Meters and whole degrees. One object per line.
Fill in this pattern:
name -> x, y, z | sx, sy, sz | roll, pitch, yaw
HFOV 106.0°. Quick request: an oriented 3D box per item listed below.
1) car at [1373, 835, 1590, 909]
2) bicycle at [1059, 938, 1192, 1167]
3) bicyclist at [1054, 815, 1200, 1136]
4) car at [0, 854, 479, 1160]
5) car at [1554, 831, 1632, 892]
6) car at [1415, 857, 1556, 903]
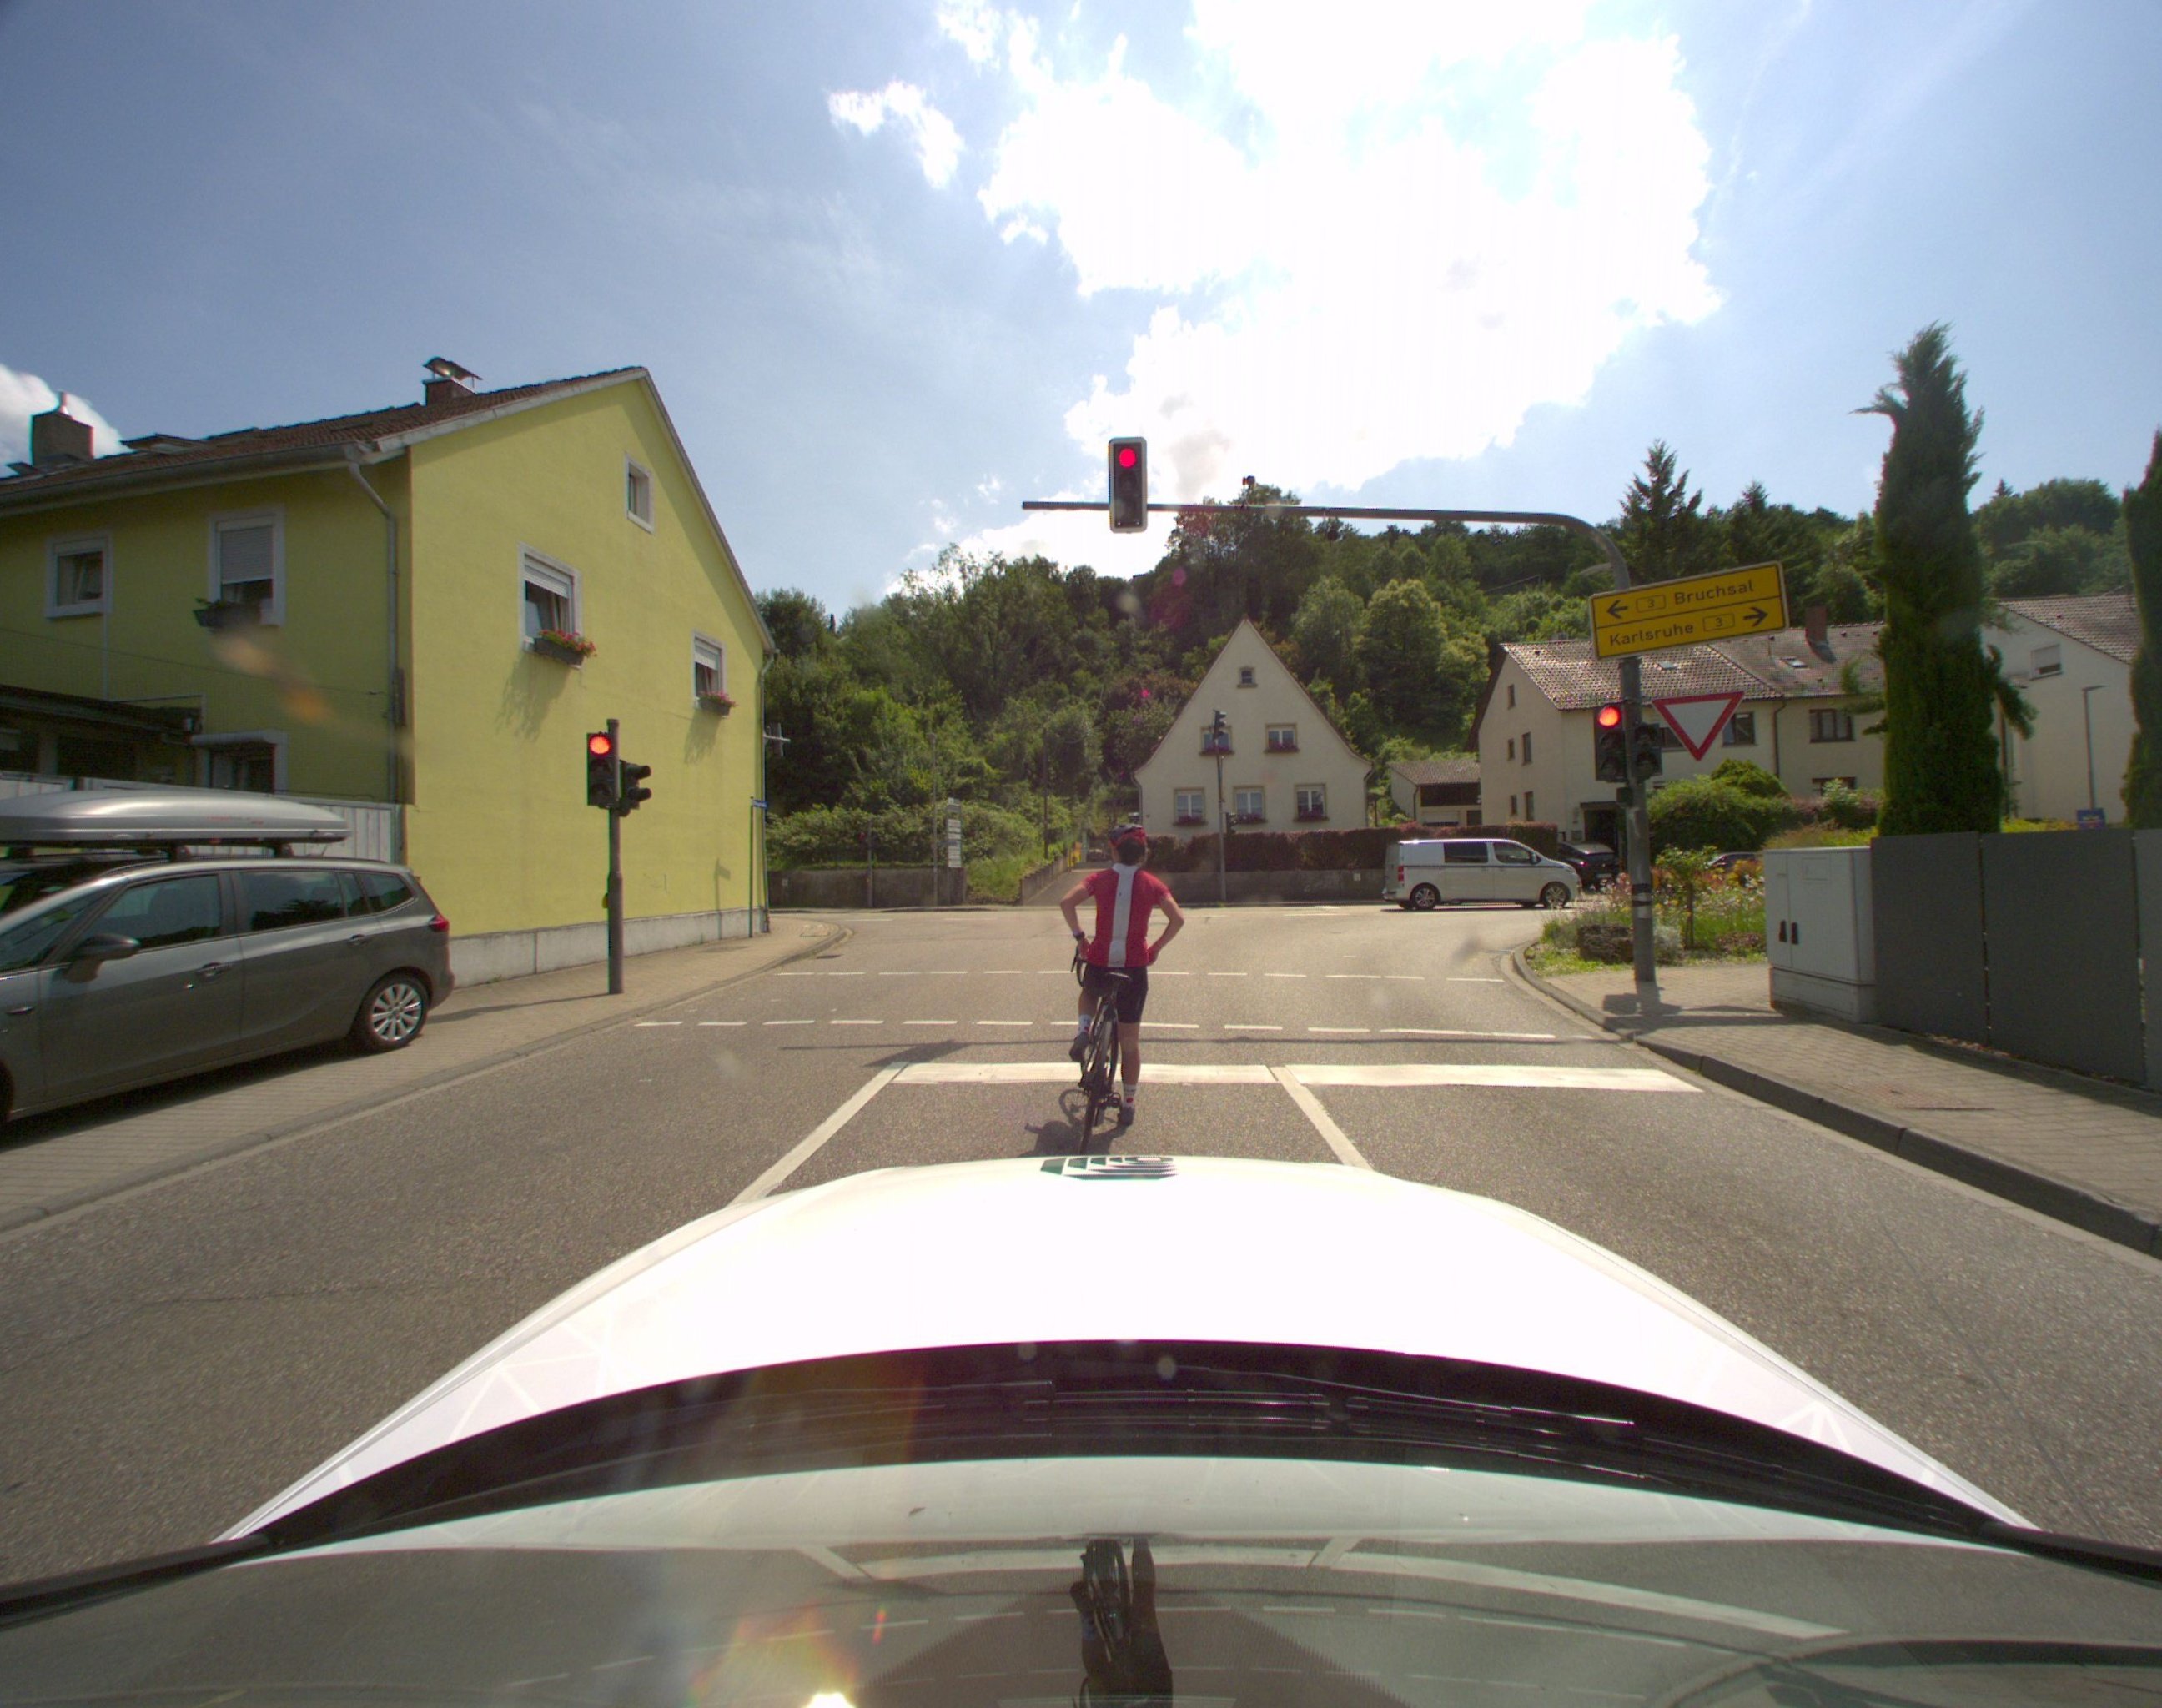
car -> 10.692, 0.520, 22.076 | 4.847, 1.822, 2.003 | -1, -3, 6
bicycle -> 0.195, 1.015, 4.655 | 0.628, 0.905, 1.656 | 0, 0, -1
bicyclist -> 0.232, 0.631, 4.671 | 0.758, 1.664, 0.868 | 0, -1, -2
car -> -6.737, 0.822, 5.350 | 1.986, 1.635, 4.632 | 0, 0, 2
car -> 18.867, 0.233, 30.175 | 1.780, 1.388, 3.709 | -1, 13, 21
car -> 12.545, 0.840, 25.434 | 3.590, 1.363, 1.647 | -1, -3, 6
